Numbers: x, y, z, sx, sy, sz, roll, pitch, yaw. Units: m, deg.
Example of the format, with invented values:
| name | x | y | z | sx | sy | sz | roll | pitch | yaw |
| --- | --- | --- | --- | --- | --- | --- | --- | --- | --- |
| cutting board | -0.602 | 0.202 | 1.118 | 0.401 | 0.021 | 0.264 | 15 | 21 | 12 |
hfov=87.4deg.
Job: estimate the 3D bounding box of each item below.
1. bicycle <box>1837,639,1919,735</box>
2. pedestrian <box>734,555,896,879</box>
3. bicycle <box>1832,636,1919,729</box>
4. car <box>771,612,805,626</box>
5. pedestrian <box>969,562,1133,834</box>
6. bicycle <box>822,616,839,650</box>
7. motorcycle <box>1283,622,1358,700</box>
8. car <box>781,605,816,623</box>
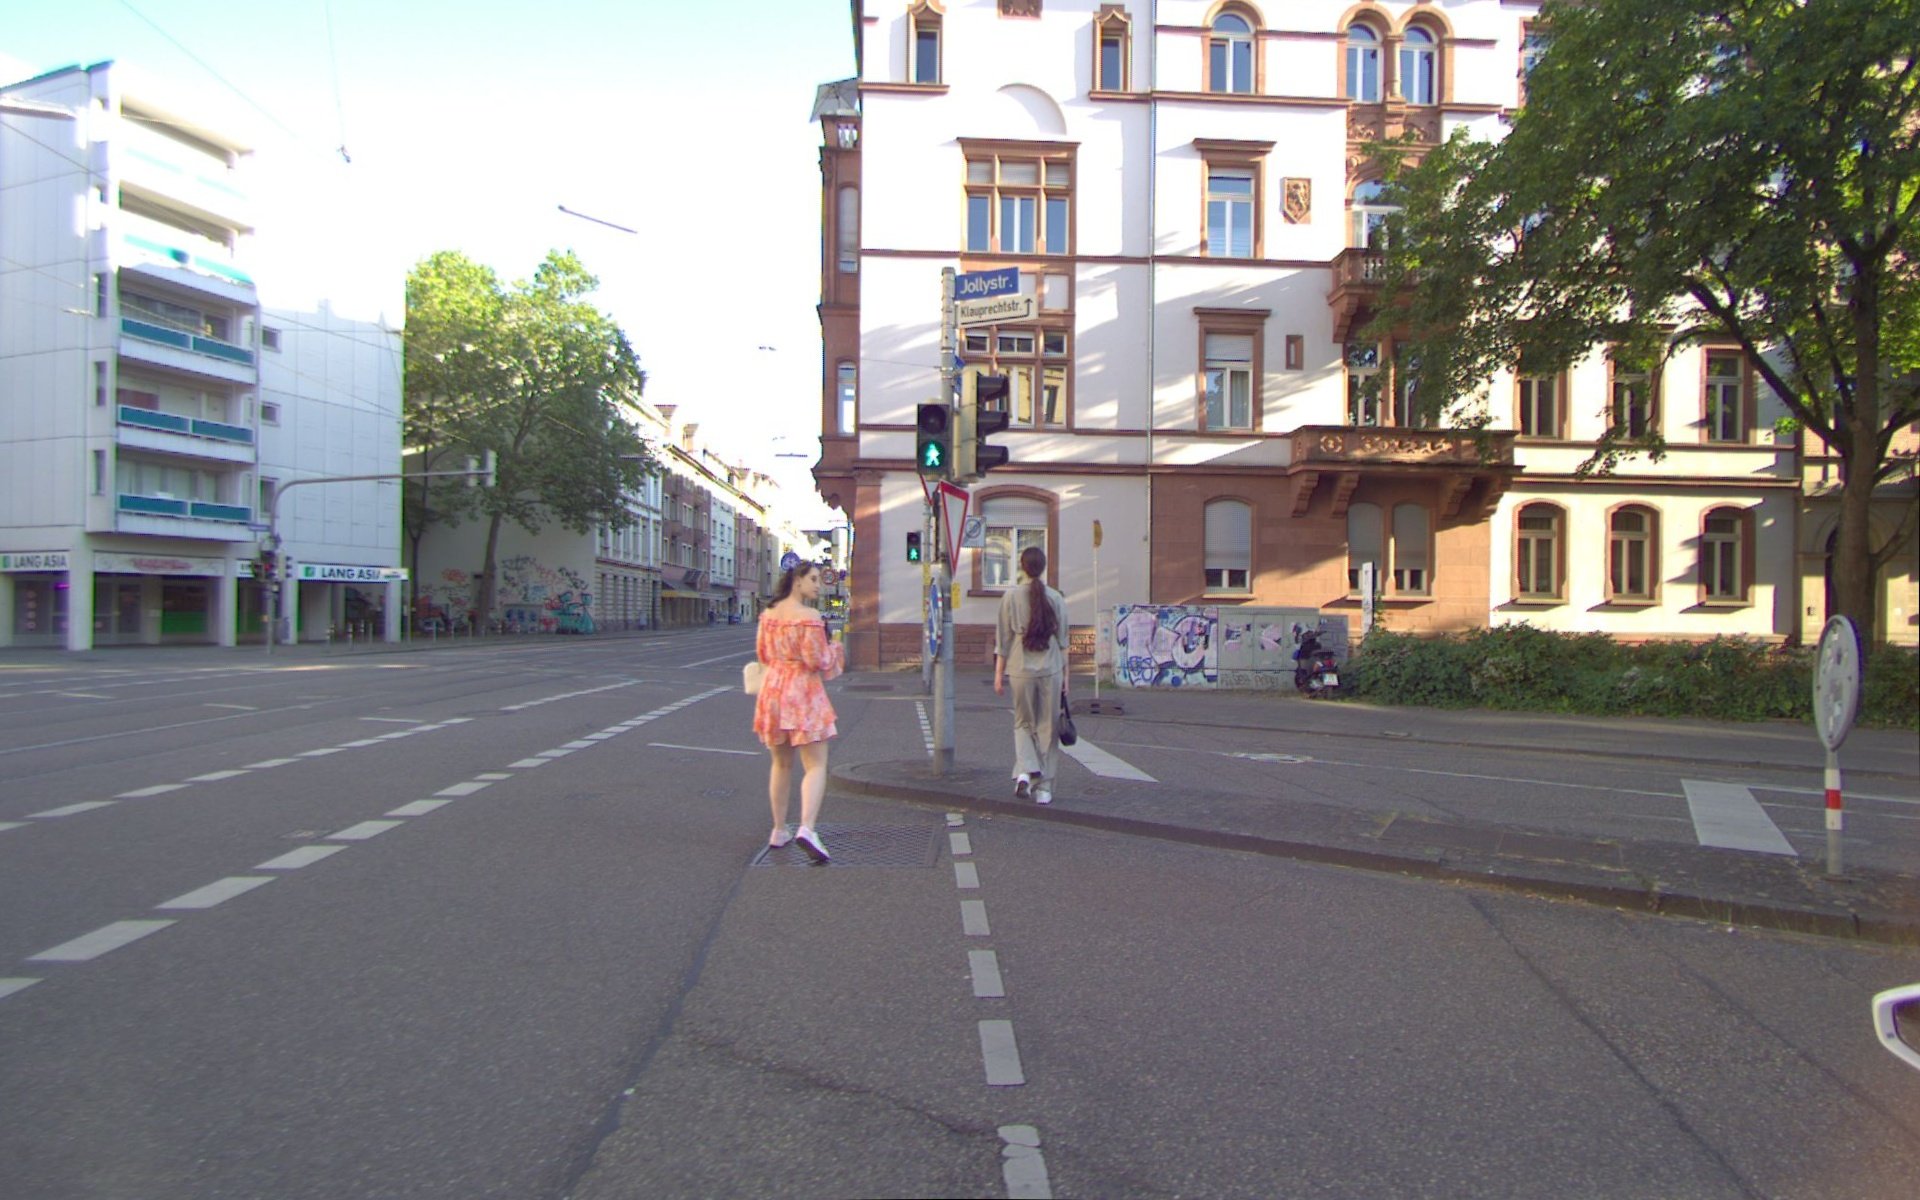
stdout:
| name | x | y | z | sx | sy | sz | roll | pitch | yaw |
| --- | --- | --- | --- | --- | --- | --- | --- | --- | --- |
| bicycle | 13.080 | 1.133 | 12.727 | 2.911 | 1.212 | 0.546 | 0 | -1 | 37 |
| pedestrian | -0.886 | 0.633 | 5.925 | 0.855 | 1.720 | 0.982 | 1 | -1 | -13 |
| bicycle | 13.424 | 1.112 | 13.210 | 2.911 | 1.212 | 0.546 | 0 | -1 | 37 |
| car | -25.641 | 2.833 | 149.676 | 4.663 | 2.040 | 2.526 | 1 | -1 | -1 |
| pedestrian | 0.599 | 0.632 | 6.933 | 0.855 | 1.720 | 0.982 | 1 | -1 | -13 |
| bicycle | -4.885 | 1.225 | 37.955 | 0.509 | 1.230 | 2.007 | 1 | -1 | -4 |
| motorcycle | 6.427 | 1.049 | 18.001 | 0.826 | 1.282 | 2.112 | 0 | -1 | 7 |
| car | -25.200 | 2.183 | 156.757 | 4.699 | 2.720 | 2.507 | 1 | -1 | -29 |
